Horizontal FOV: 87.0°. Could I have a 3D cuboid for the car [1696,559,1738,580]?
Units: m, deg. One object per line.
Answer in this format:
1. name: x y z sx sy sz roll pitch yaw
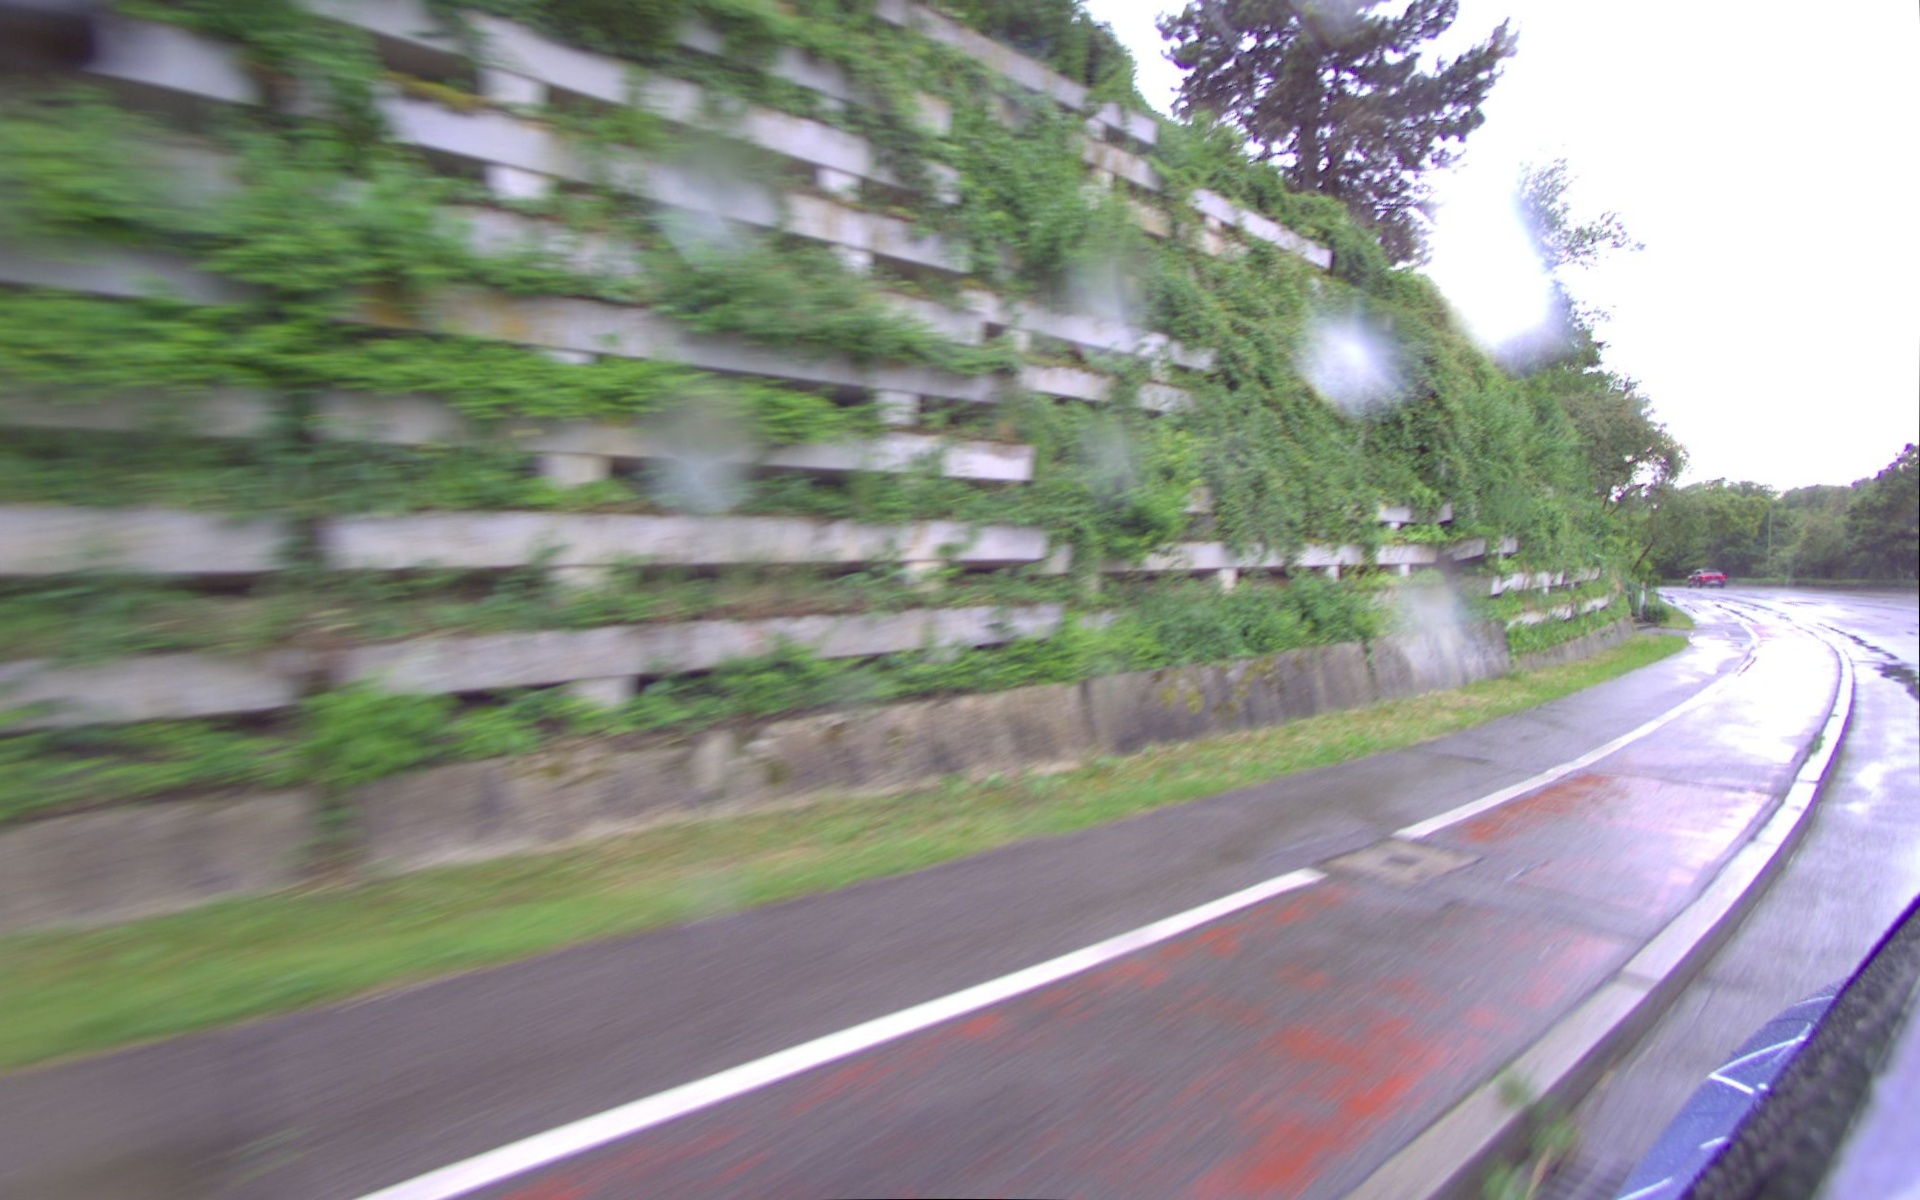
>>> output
1. car: 61.751 -2.476 82.633 1.739 1.555 3.970 1 0 22
